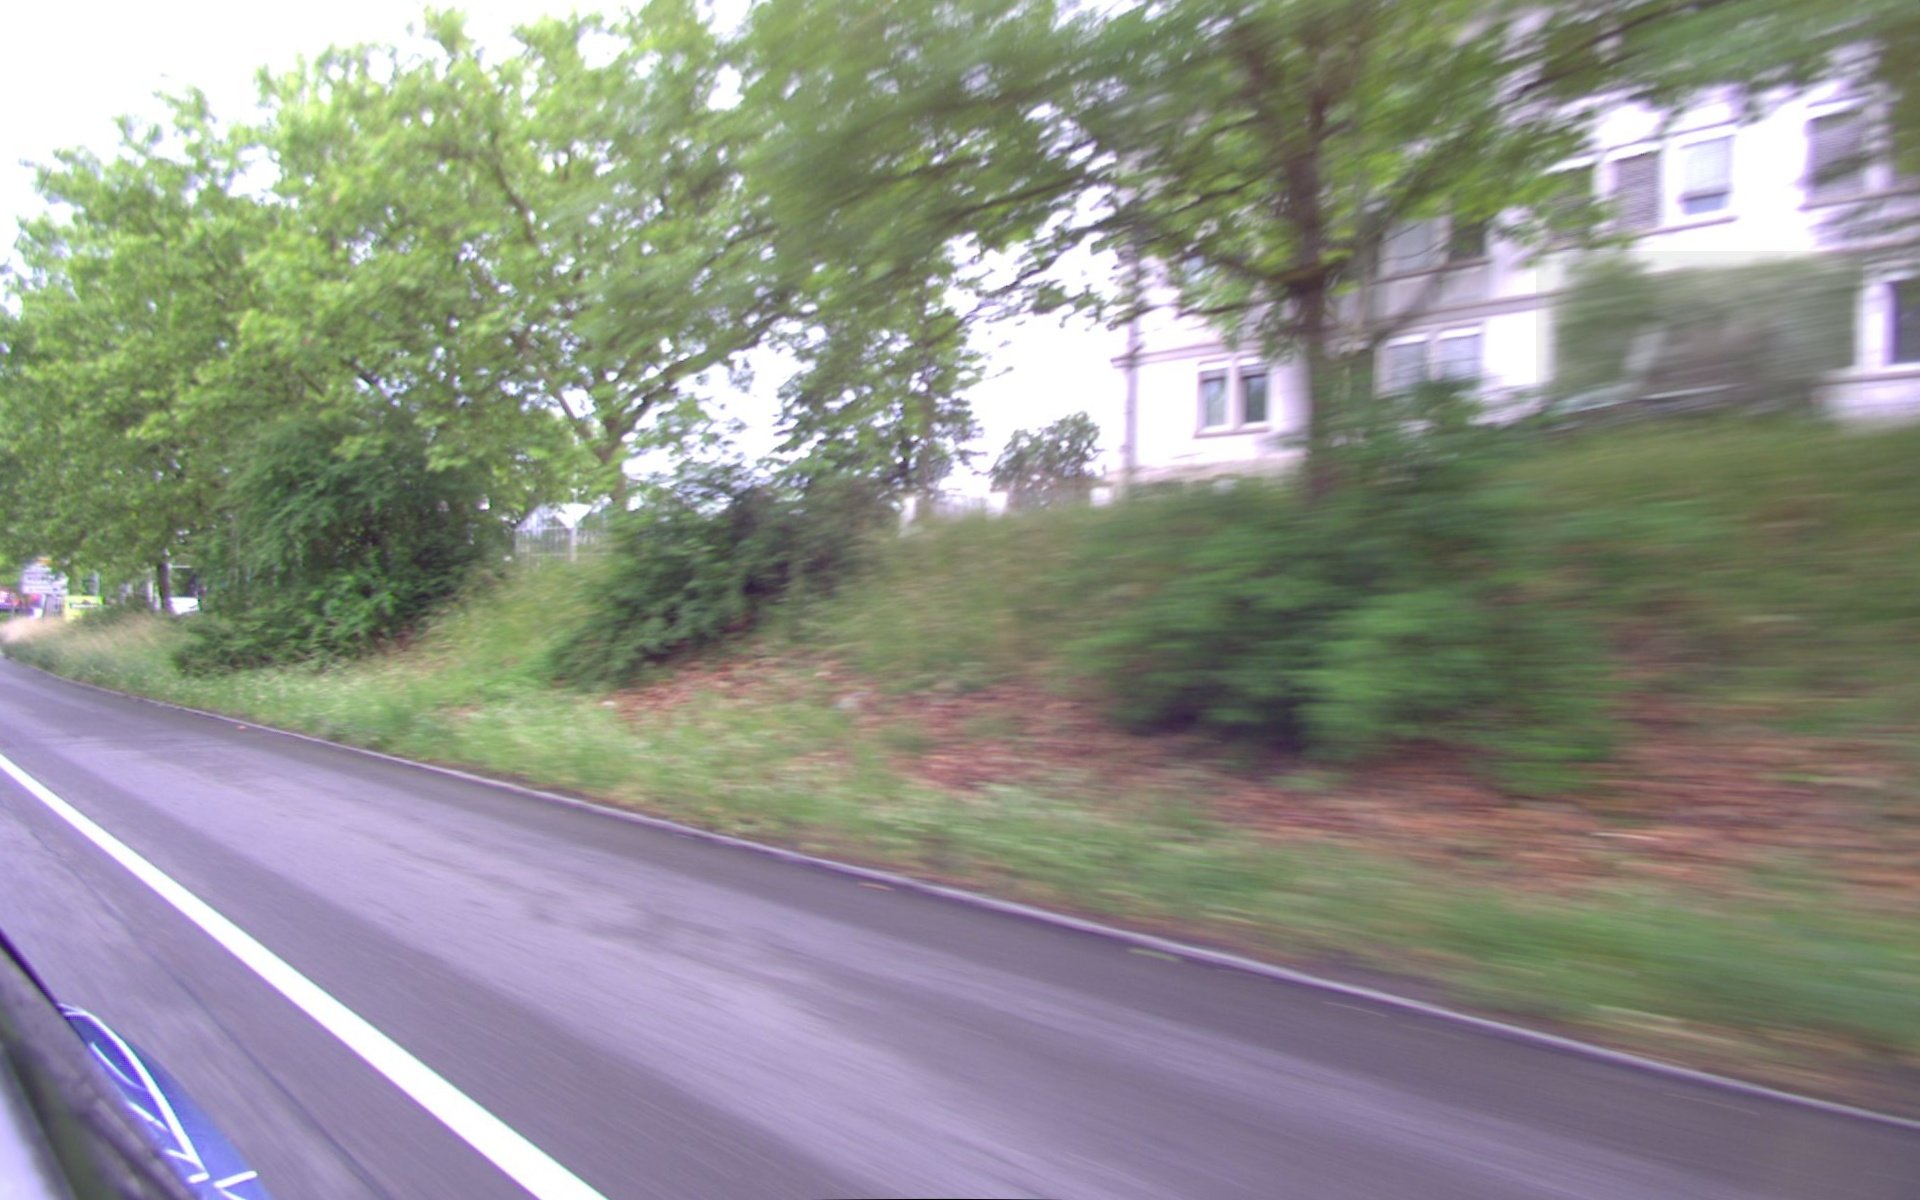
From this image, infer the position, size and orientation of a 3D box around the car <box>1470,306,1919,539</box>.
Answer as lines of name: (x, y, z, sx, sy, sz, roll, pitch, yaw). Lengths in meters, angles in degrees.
car: (8.076, -1.748, 11.183, 3.998, 1.858, 1.973, -1, 0, 41)
